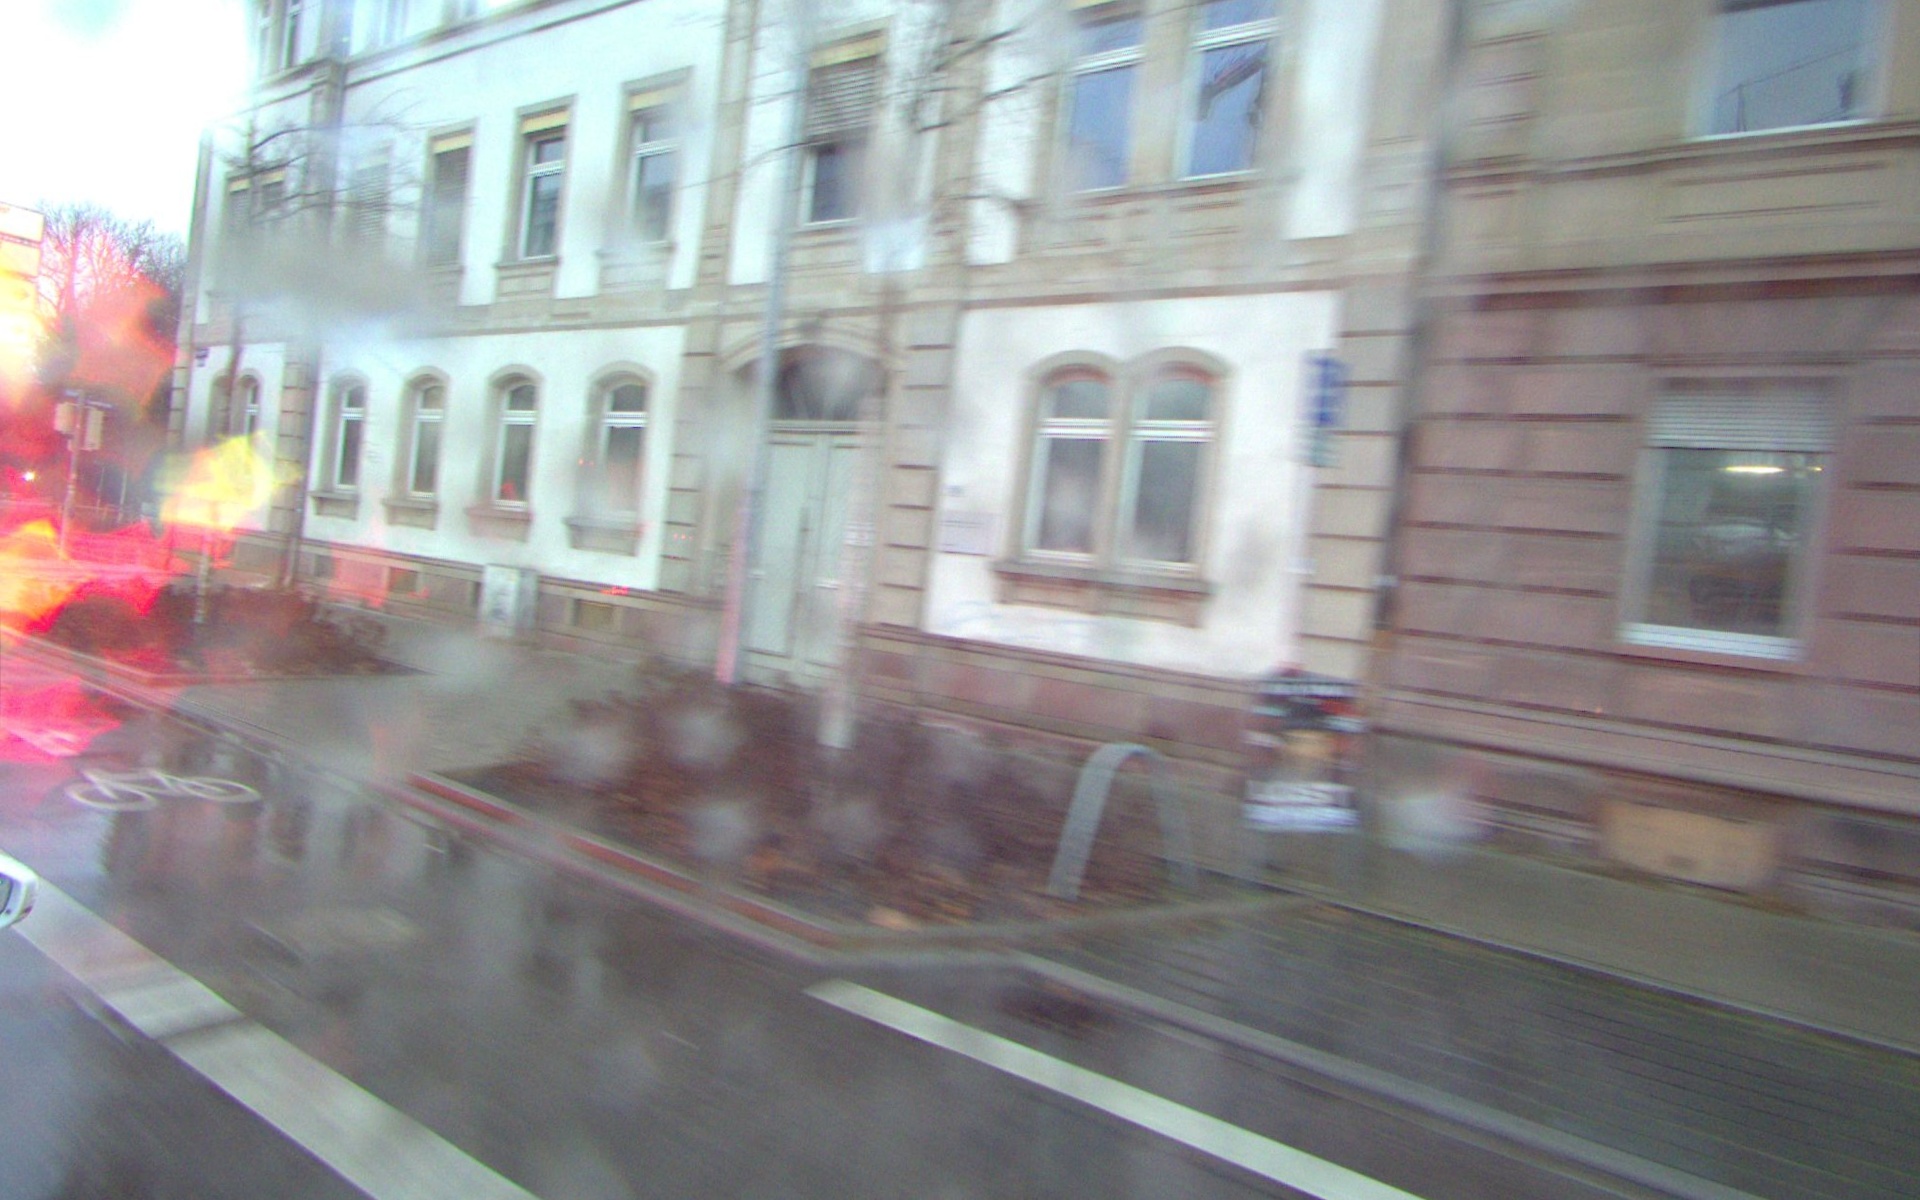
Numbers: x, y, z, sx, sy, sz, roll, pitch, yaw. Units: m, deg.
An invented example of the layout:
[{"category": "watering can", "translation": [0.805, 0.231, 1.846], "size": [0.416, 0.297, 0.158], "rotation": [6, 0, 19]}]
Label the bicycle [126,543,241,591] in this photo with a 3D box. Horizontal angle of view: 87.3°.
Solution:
[{"category": "bicycle", "translation": [-24.184, -1.021, 31.382], "size": [0.805, 1.101, 2.661], "rotation": [6, -3, 45]}]

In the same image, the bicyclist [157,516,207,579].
[{"category": "bicyclist", "translation": [-24.208, -1.634, 31.299], "size": [0.803, 1.779, 0.970], "rotation": [6, -2, 44]}]
